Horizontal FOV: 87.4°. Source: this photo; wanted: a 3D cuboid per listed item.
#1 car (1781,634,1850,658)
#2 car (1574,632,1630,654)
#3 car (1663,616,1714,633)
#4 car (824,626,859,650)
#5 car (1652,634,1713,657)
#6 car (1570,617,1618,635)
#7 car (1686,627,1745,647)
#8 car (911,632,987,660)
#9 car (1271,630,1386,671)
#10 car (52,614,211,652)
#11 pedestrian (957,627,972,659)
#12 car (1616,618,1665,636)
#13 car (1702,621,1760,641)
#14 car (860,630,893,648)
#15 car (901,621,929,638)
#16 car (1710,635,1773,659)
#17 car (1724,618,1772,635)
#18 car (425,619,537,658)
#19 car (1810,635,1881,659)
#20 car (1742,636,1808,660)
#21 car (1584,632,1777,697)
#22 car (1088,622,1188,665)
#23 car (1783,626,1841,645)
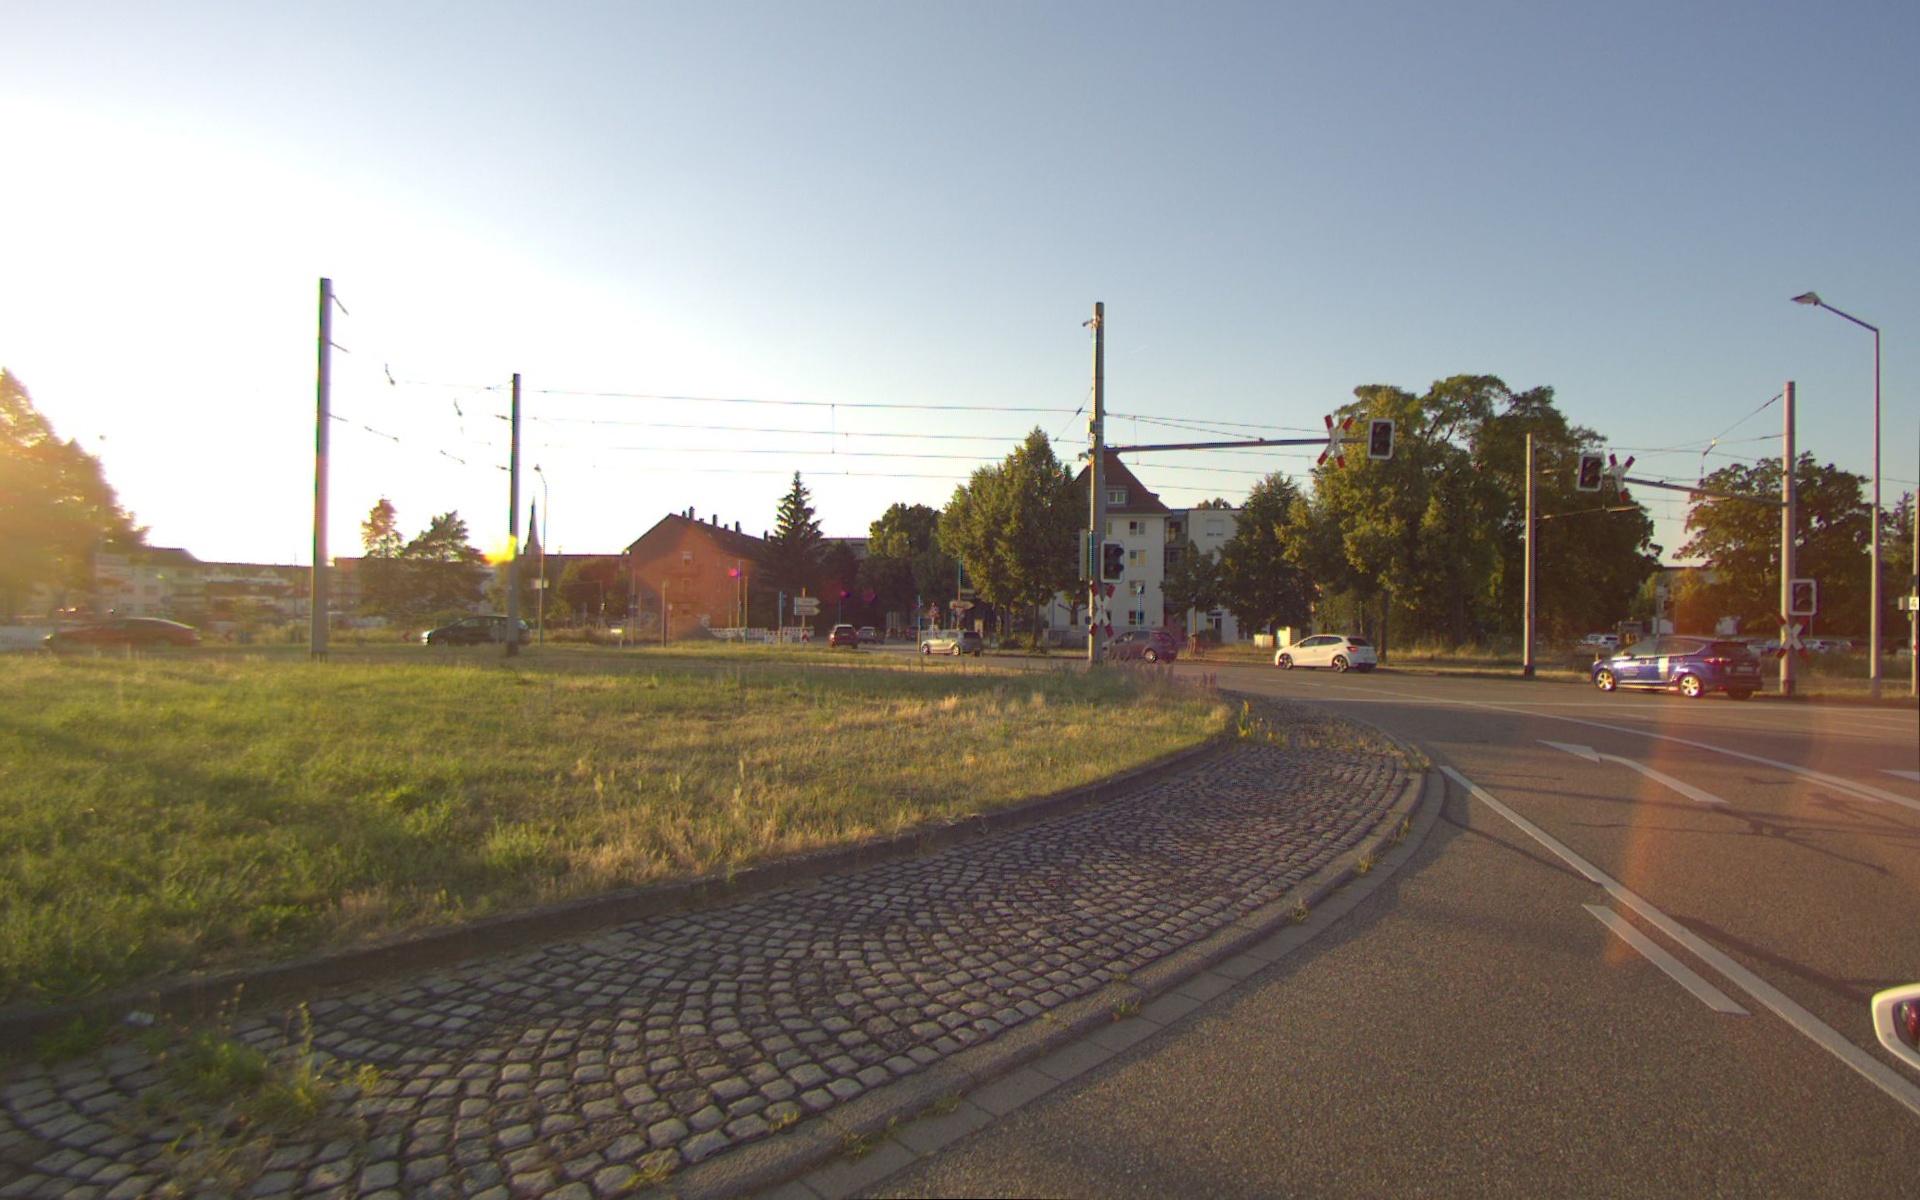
[{"bbox_3d":[63.298,3.383,74.428,1.959,1.625,4.002,1,-1,6],"label":"car"},{"bbox_3d":[48.775,3.245,76.409,1.959,1.625,4.002,1,-1,6],"label":"car"},{"bbox_3d":[87.643,2.962,120.860,4.505,2.040,2.001,1,-1,7],"label":"car"},{"bbox_3d":[-8.446,2.659,71.269,1.966,1.594,4.404,1,-1,-13],"label":"car"},{"bbox_3d":[54.070,3.390,75.267,1.959,1.625,4.002,1,-1,6],"label":"car"},{"bbox_3d":[76.929,3.135,121.976,4.506,2.040,2.001,1,-1,3],"label":"car"},{"bbox_3d":[69.304,3.378,92.179,3.919,1.684,1.904,1,-1,8],"label":"car"},{"bbox_3d":[-0.622,2.494,55.082,4.106,1.408,1.856,0,-1,45],"label":"car"},{"bbox_3d":[14.462,1.939,39.605,1.849,1.473,3.934,1,-1,-34],"label":"car"},{"bbox_3d":[-32.141,1.281,39.153,4.441,1.410,1.882,2,-1,-28],"label":"car"},{"bbox_3d":[0.294,2.646,62.231,0.614,1.918,0.663,1,0,-33],"label":"pedestrian"},{"bbox_3d":[82.143,3.279,121.319,4.506,2.040,2.001,1,-1,3],"label":"car"},{"bbox_3d":[80.920,3.251,105.454,4.506,2.040,2.001,1,-1,3],"label":"car"},{"bbox_3d":[-7.480,3.484,90.496,1.848,1.483,4.674,0,-1,9],"label":"car"},{"bbox_3d":[-4.848,3.167,108.924,1.959,1.659,4.528,0,0,11],"label":"car"},{"bbox_3d":[58.855,3.526,75.745,1.959,1.625,4.002,1,-1,6],"label":"car"},{"bbox_3d":[94.272,3.149,120.161,4.032,2.040,2.001,1,-1,7],"label":"car"},{"bbox_3d":[-20.547,1.634,43.221,3.924,1.606,1.894,1,-1,-5],"label":"car"},{"bbox_3d":[65.659,3.449,74.557,1.959,1.625,4.002,1,-1,6],"label":"car"},{"bbox_3d":[60.949,3.583,75.168,1.959,1.625,4.002,1,-1,6],"label":"car"},{"bbox_3d":[19.634,1.715,27.636,1.882,1.604,4.172,1,-1,-12],"label":"car"},{"bbox_3d":[8.192,2.015,46.505,4.103,1.473,1.858,6,0,42],"label":"car"},{"bbox_3d":[77.409,3.201,91.284,3.942,1.684,1.893,0,-1,41],"label":"car"}]
